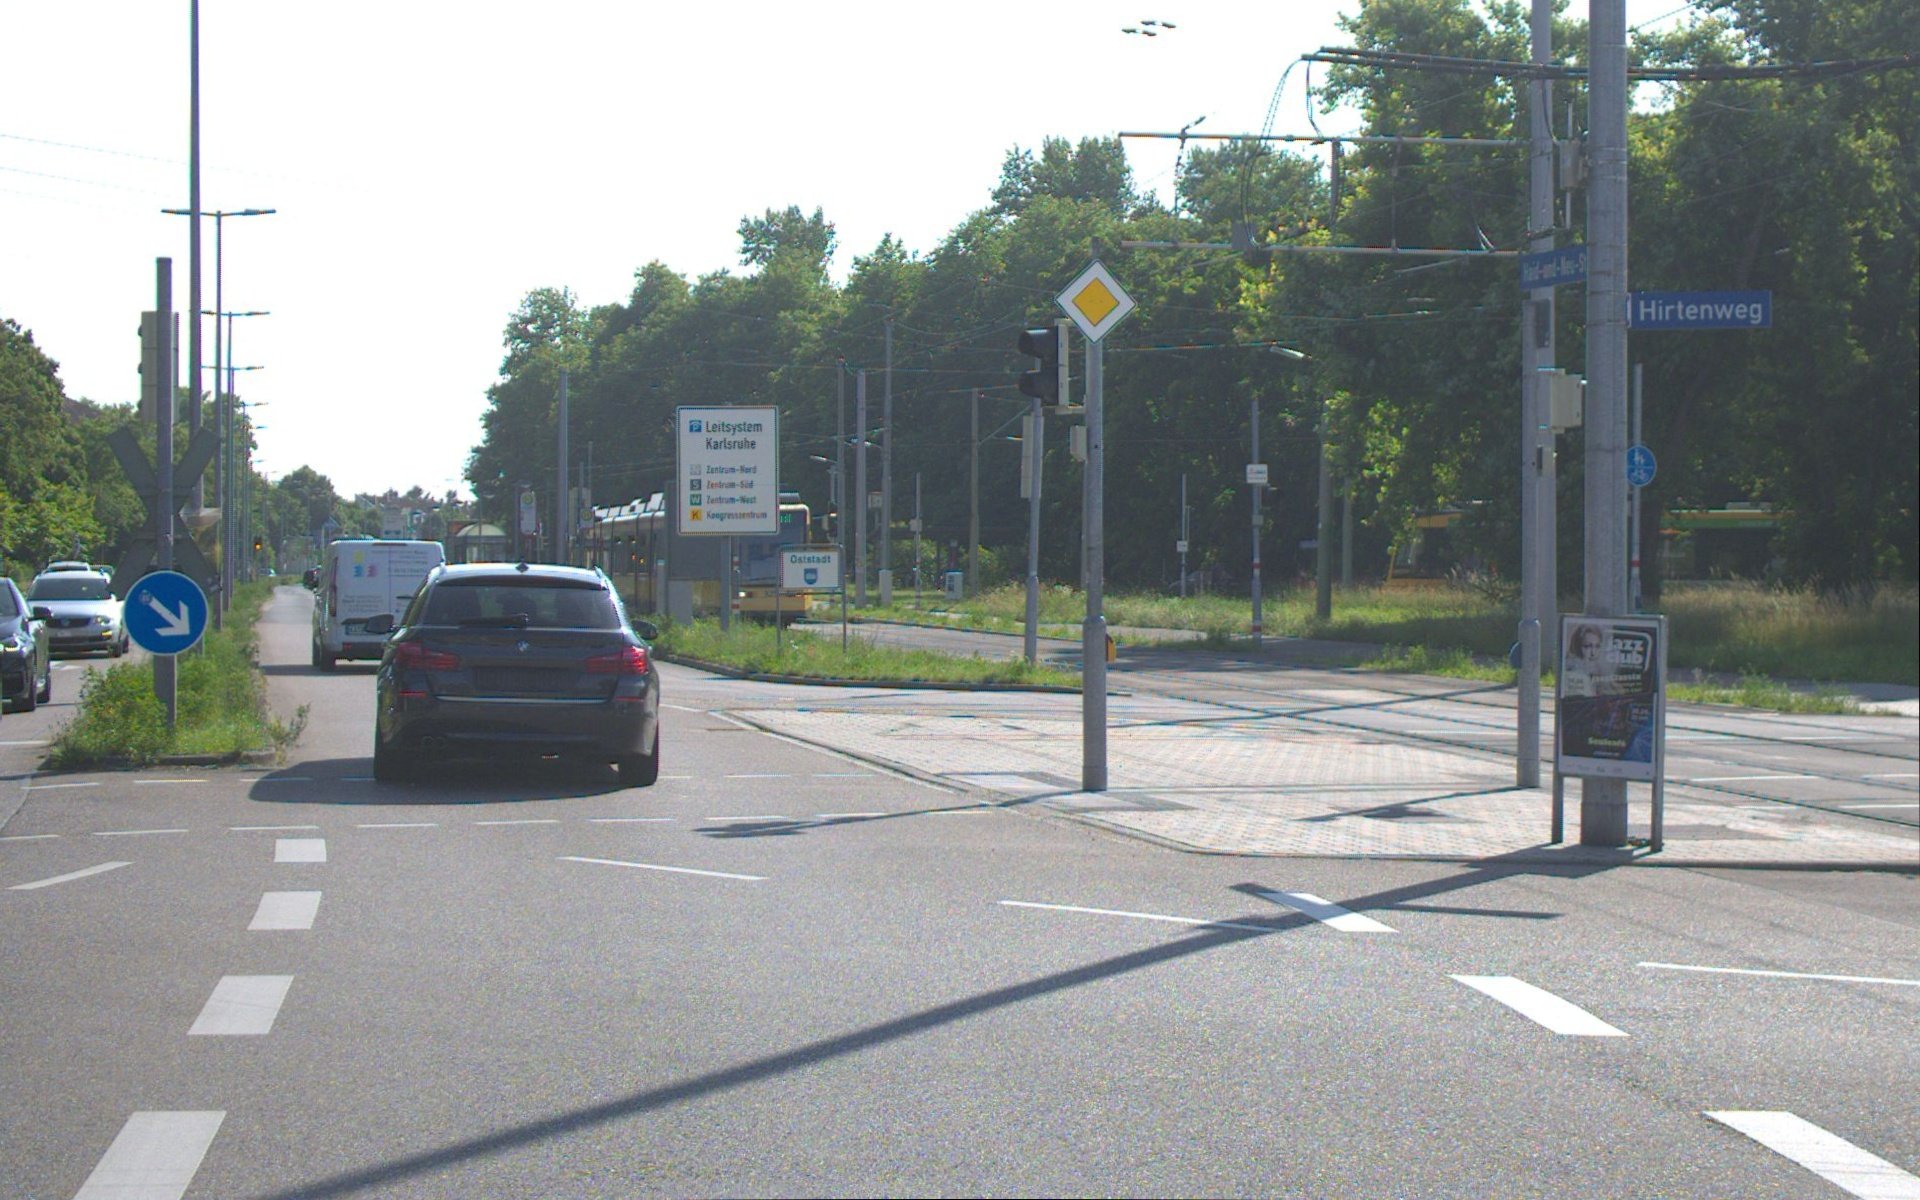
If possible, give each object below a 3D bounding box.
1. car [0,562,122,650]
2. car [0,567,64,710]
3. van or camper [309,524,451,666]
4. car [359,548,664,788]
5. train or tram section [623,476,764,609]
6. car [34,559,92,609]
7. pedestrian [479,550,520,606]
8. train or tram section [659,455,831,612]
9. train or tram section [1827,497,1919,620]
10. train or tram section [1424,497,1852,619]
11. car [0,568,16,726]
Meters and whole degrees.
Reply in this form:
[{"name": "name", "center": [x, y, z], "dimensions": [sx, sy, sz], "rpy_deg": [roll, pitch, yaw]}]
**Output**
[{"name": "car", "center": [-15.627, 0.074, 59.656], "dimensions": [1.848, 1.472, 4.647], "rpy_deg": [0, 1, -10]}, {"name": "car", "center": [-10.631, 0.375, 36.750], "dimensions": [1.828, 1.430, 4.382], "rpy_deg": [-1, 1, -12]}, {"name": "van or camper", "center": [-8.987, -0.100, 53.049], "dimensions": [1.993, 2.089, 4.600], "rpy_deg": [0, 1, -12]}, {"name": "car", "center": [-3.131, 0.407, 23.642], "dimensions": [1.902, 1.500, 4.066], "rpy_deg": [0, 1, -9]}, {"name": "train or tram section", "center": [-7.733, -1.555, 98.461], "dimensions": [2.749, 3.542, 11.259], "rpy_deg": [1, 0, -11]}, {"name": "car", "center": [-32.570, -0.579, 124.884], "dimensions": [1.788, 1.766, 4.571], "rpy_deg": [0, 1, -12]}, {"name": "pedestrian", "center": [-13.675, -0.655, 102.105], "dimensions": [0.999, 1.629, 0.720], "rpy_deg": [1, 1, 22]}, {"name": "train or tram section", "center": [-5.558, -1.552, 86.563], "dimensions": [2.795, 3.606, 12.959], "rpy_deg": [1, 0, -10]}, {"name": "train or tram section", "center": [31.619, -1.180, 99.695], "dimensions": [12.205, 3.567, 3.050], "rpy_deg": [0, 0, 24]}, {"name": "train or tram section", "center": [20.482, -1.287, 104.045], "dimensions": [12.410, 3.567, 3.051], "rpy_deg": [0, 0, 19]}, {"name": "car", "center": [-9.528, 0.453, 30.536], "dimensions": [1.828, 1.426, 4.733], "rpy_deg": [-1, 1, -11]}]
